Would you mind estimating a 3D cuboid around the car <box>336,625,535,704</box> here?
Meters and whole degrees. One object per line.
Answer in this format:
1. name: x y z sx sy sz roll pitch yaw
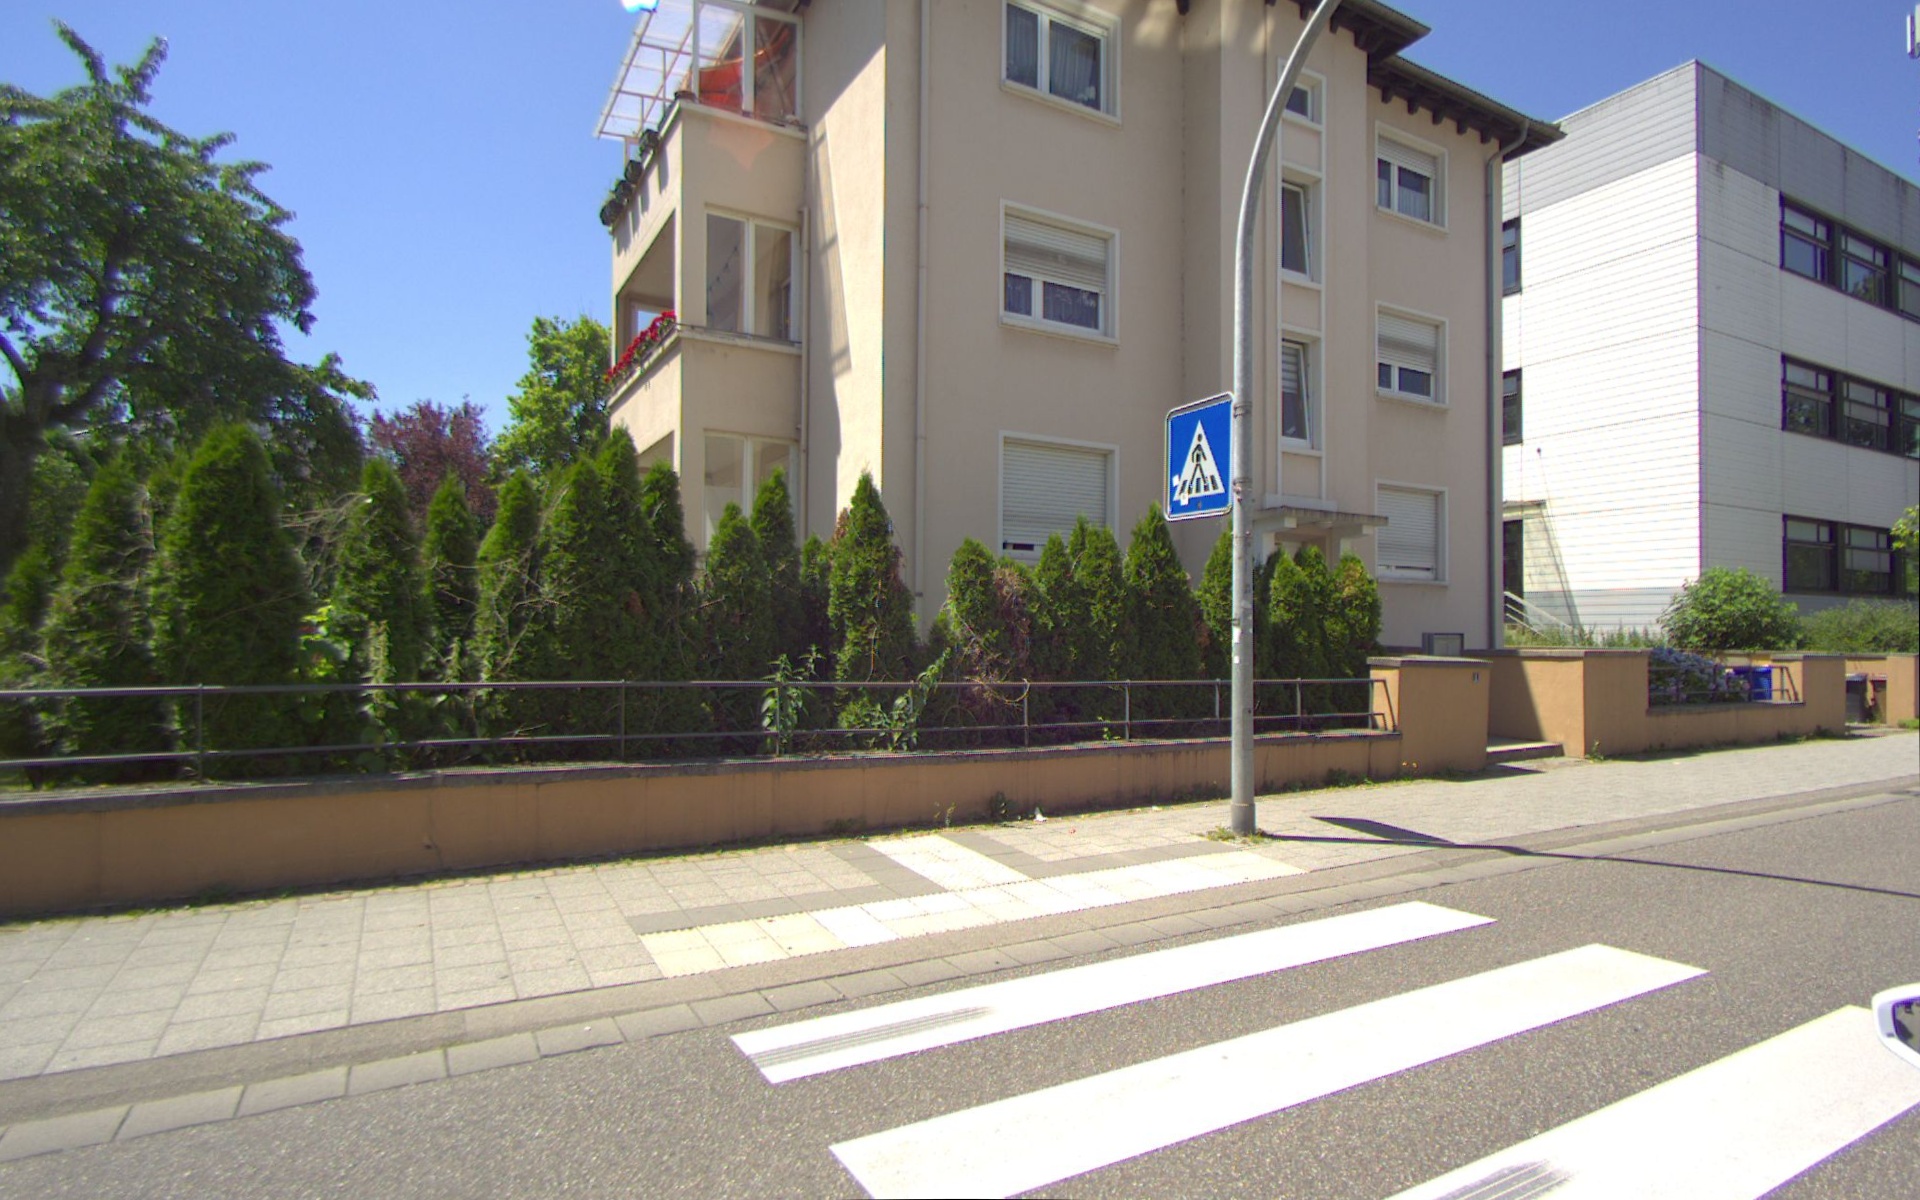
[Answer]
1. car: -10.439 1.242 20.063 3.379 1.439 1.702 2 -2 -32
